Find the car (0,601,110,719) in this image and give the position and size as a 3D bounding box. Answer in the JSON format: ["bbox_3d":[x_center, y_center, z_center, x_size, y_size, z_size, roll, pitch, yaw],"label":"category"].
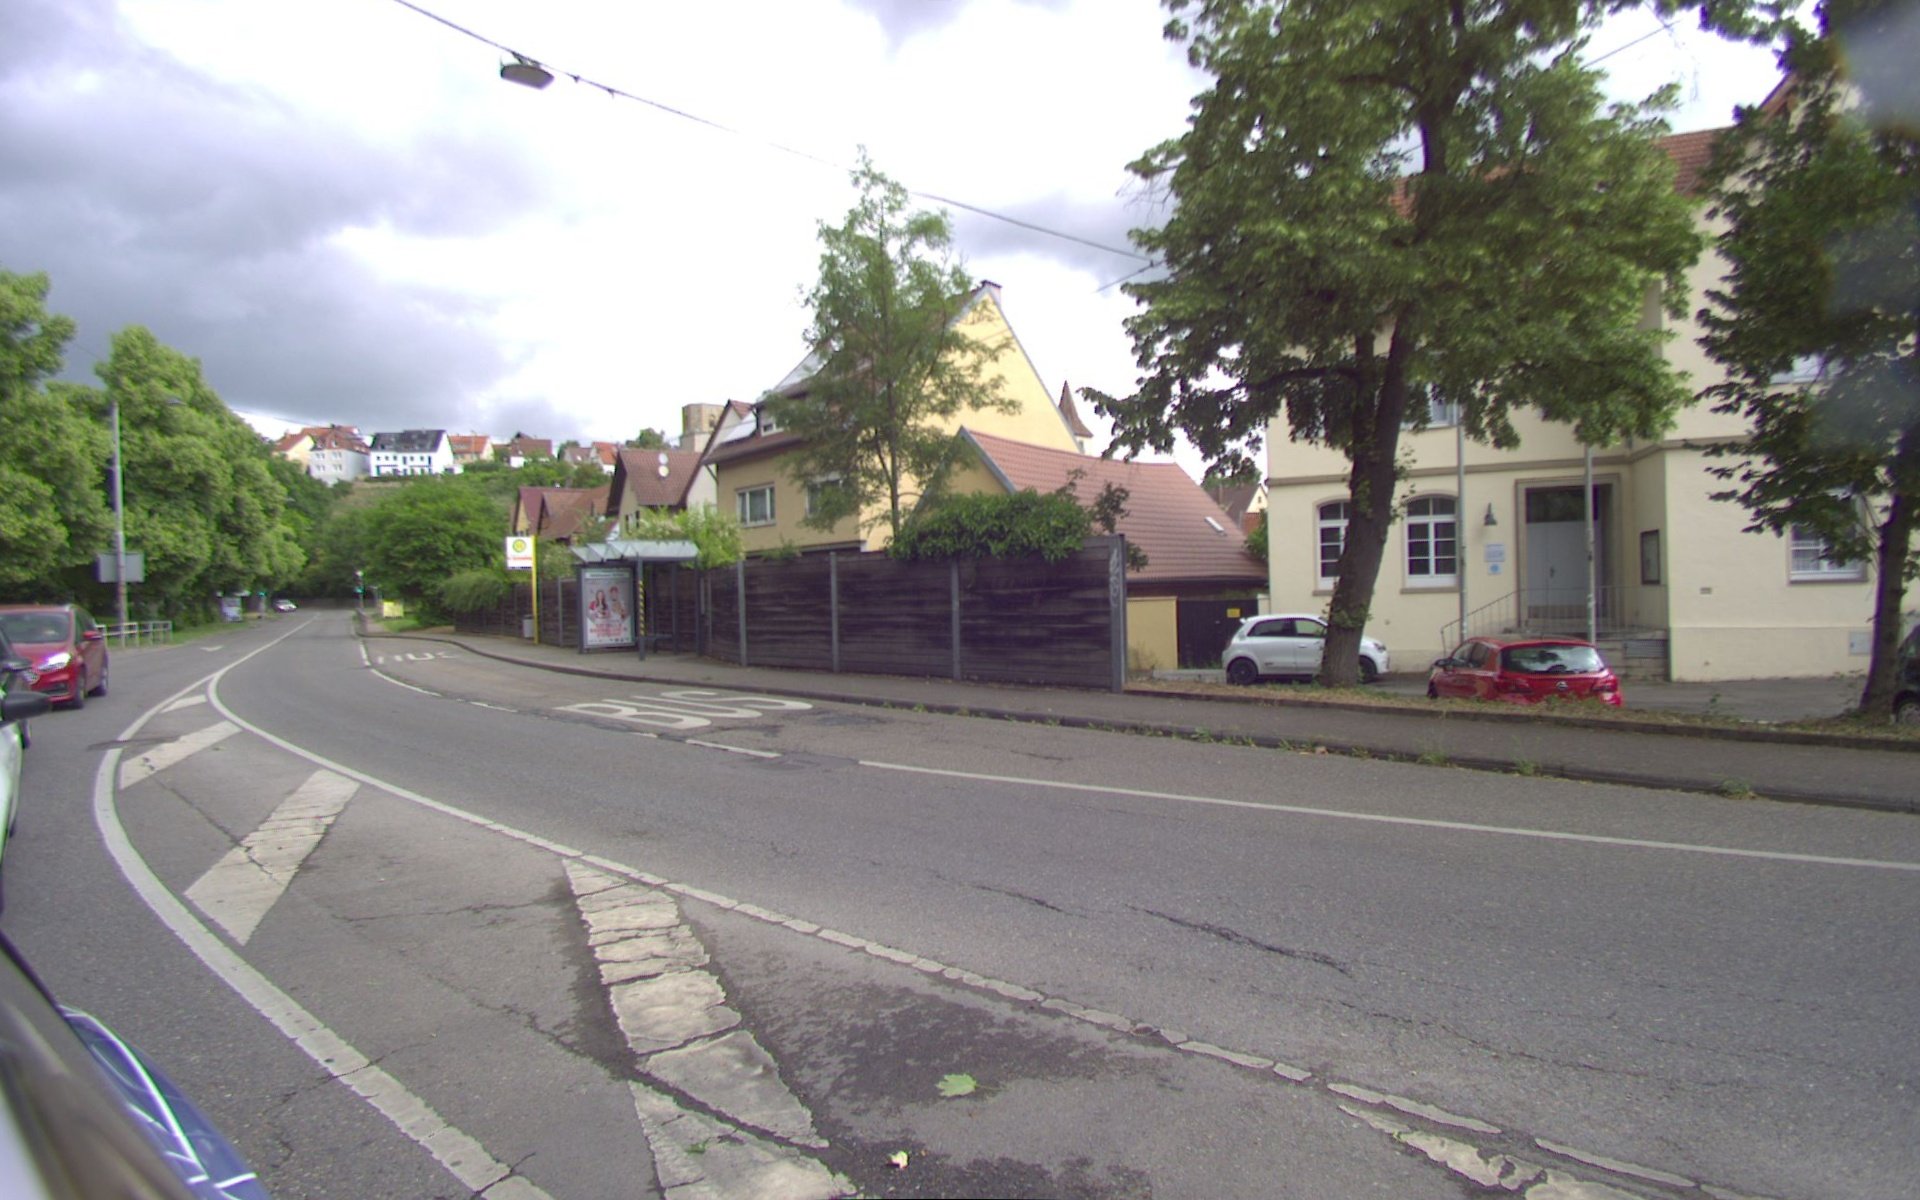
[{"bbox_3d":[-15.035,0.885,16.241,1.799,1.685,4.068,-1,0,-36],"label":"car"}]

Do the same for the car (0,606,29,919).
[{"bbox_3d":[-6.034,0.815,5.275,1.594,1.525,3.610,-1,0,-41],"label":"car"}]

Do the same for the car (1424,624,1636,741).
[{"bbox_3d":[8.123,1.104,14.768,1.590,1.389,3.544,-1,0,10],"label":"car"}]

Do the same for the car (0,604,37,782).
[{"bbox_3d":[-10.228,0.852,9.854,1.699,1.559,3.787,-1,0,-41],"label":"car"}]

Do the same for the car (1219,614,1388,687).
[{"bbox_3d":[7.743,1.108,22.924,3.487,1.528,1.581,-1,0,20],"label":"car"}]

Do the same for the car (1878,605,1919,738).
[{"bbox_3d":[12.696,0.888,11.585,1.586,1.644,3.093,-1,0,2],"label":"car"}]

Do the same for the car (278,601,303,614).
[{"bbox_3d":[-89.956,0.964,135.869,3.998,1.652,1.822,-1,0,41],"label":"car"}]
